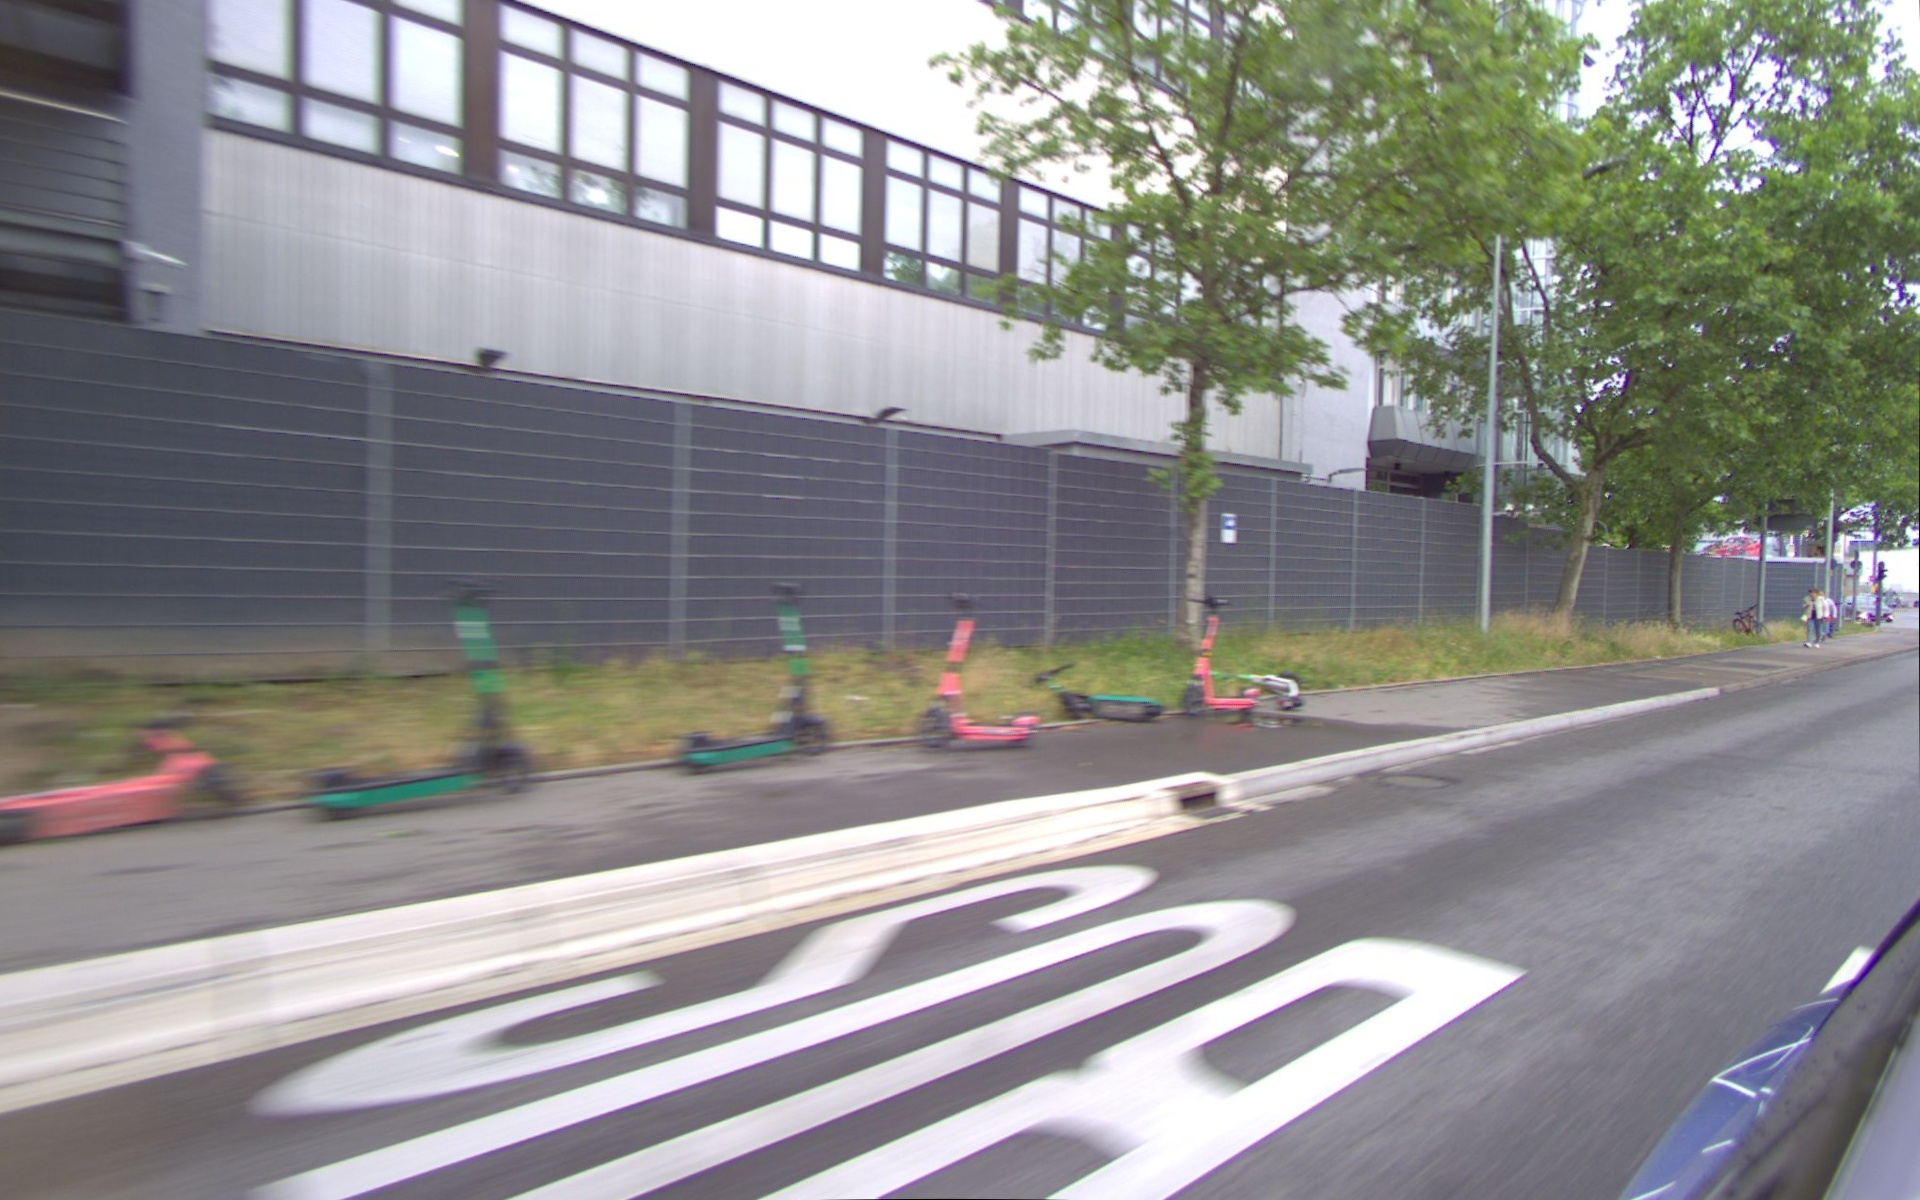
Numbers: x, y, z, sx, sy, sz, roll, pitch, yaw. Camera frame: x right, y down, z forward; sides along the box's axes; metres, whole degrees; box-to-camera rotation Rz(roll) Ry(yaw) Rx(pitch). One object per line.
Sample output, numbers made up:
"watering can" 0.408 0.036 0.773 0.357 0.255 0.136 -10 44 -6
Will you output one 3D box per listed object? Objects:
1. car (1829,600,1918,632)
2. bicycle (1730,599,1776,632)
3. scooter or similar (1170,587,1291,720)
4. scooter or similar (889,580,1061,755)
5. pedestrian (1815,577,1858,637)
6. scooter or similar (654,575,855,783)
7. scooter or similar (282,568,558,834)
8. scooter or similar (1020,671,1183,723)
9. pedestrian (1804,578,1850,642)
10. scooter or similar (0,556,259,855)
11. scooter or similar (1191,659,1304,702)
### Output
"car" 52.943 0.905 58.736 1.849 1.537 3.846 3 2 6
"bicycle" 23.477 0.447 29.949 1.872 0.886 0.727 -1 2 -41
"scooter or similar" 2.816 0.529 10.500 1.275 1.301 0.438 0 2 -33
"scooter or similar" 0.136 0.507 8.152 1.340 1.311 0.438 0 2 -33
"pedestrian" 25.516 0.194 29.470 0.818 1.686 0.723 0 4 -41
"scooter or similar" -1.399 0.499 6.997 1.276 1.311 0.437 0 2 -37
"scooter or similar" -2.940 0.497 5.561 1.276 1.311 0.437 0 2 -37
"scooter or similar" 1.411 0.964 10.245 1.232 0.349 1.104 1 2 -23
"pedestrian" 23.199 0.264 27.078 0.818 1.638 0.723 0 4 -41
"scooter or similar" -4.111 0.461 4.794 1.276 1.311 0.437 0 2 -37
"scooter or similar" 3.423 0.939 11.983 1.169 0.314 1.194 2 2 22
